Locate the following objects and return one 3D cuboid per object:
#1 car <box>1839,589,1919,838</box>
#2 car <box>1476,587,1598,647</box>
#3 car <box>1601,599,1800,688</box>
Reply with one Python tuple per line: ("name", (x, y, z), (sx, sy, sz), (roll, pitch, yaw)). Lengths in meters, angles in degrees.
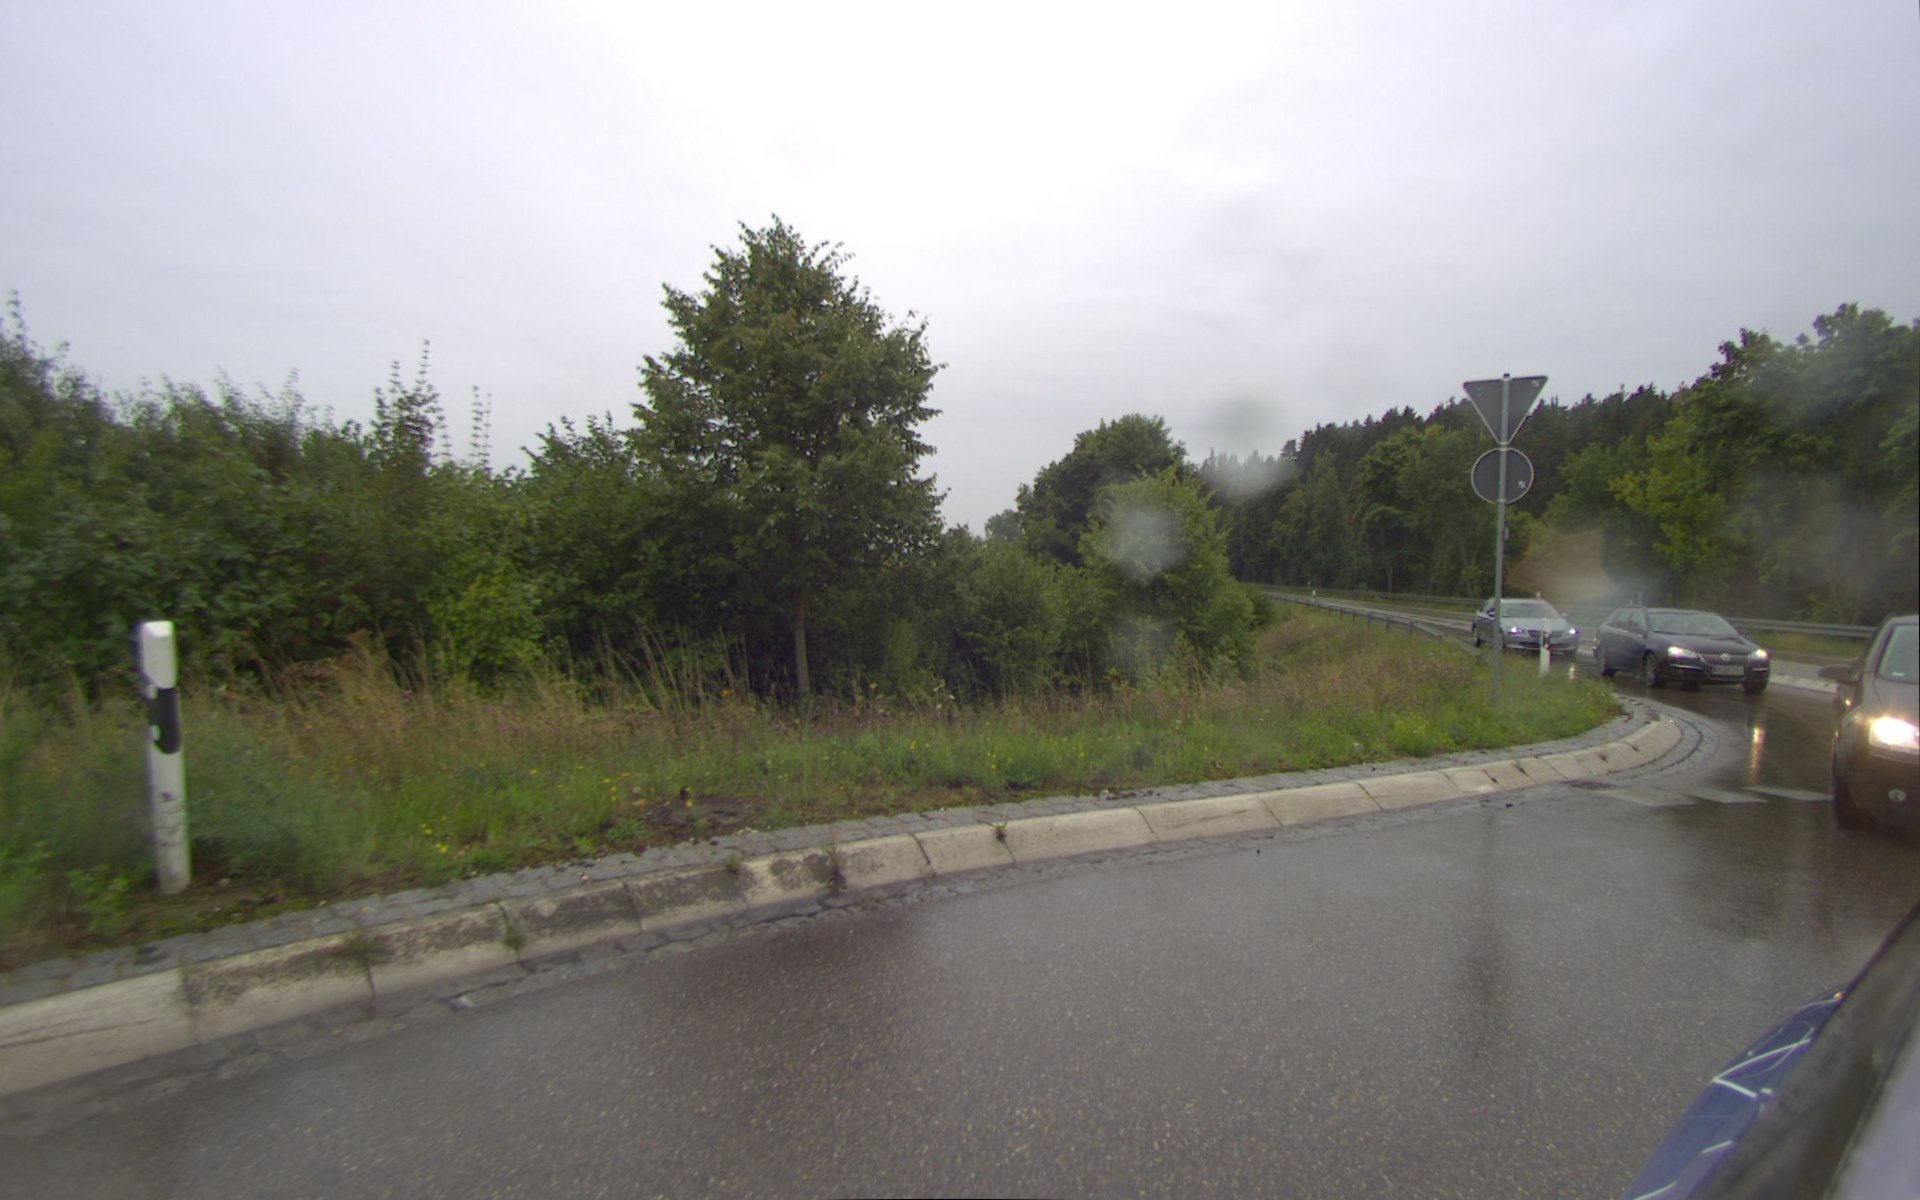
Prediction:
("car", (7.508, 0.732, 7.174), (1.867, 1.439, 4.436), (3, 1, 41))
("car", (15.805, 0.417, 27.968), (1.739, 1.438, 4.483), (3, 1, 15))
("car", (13.782, 0.728, 19.160), (1.927, 1.388, 4.470), (3, 1, 22))
